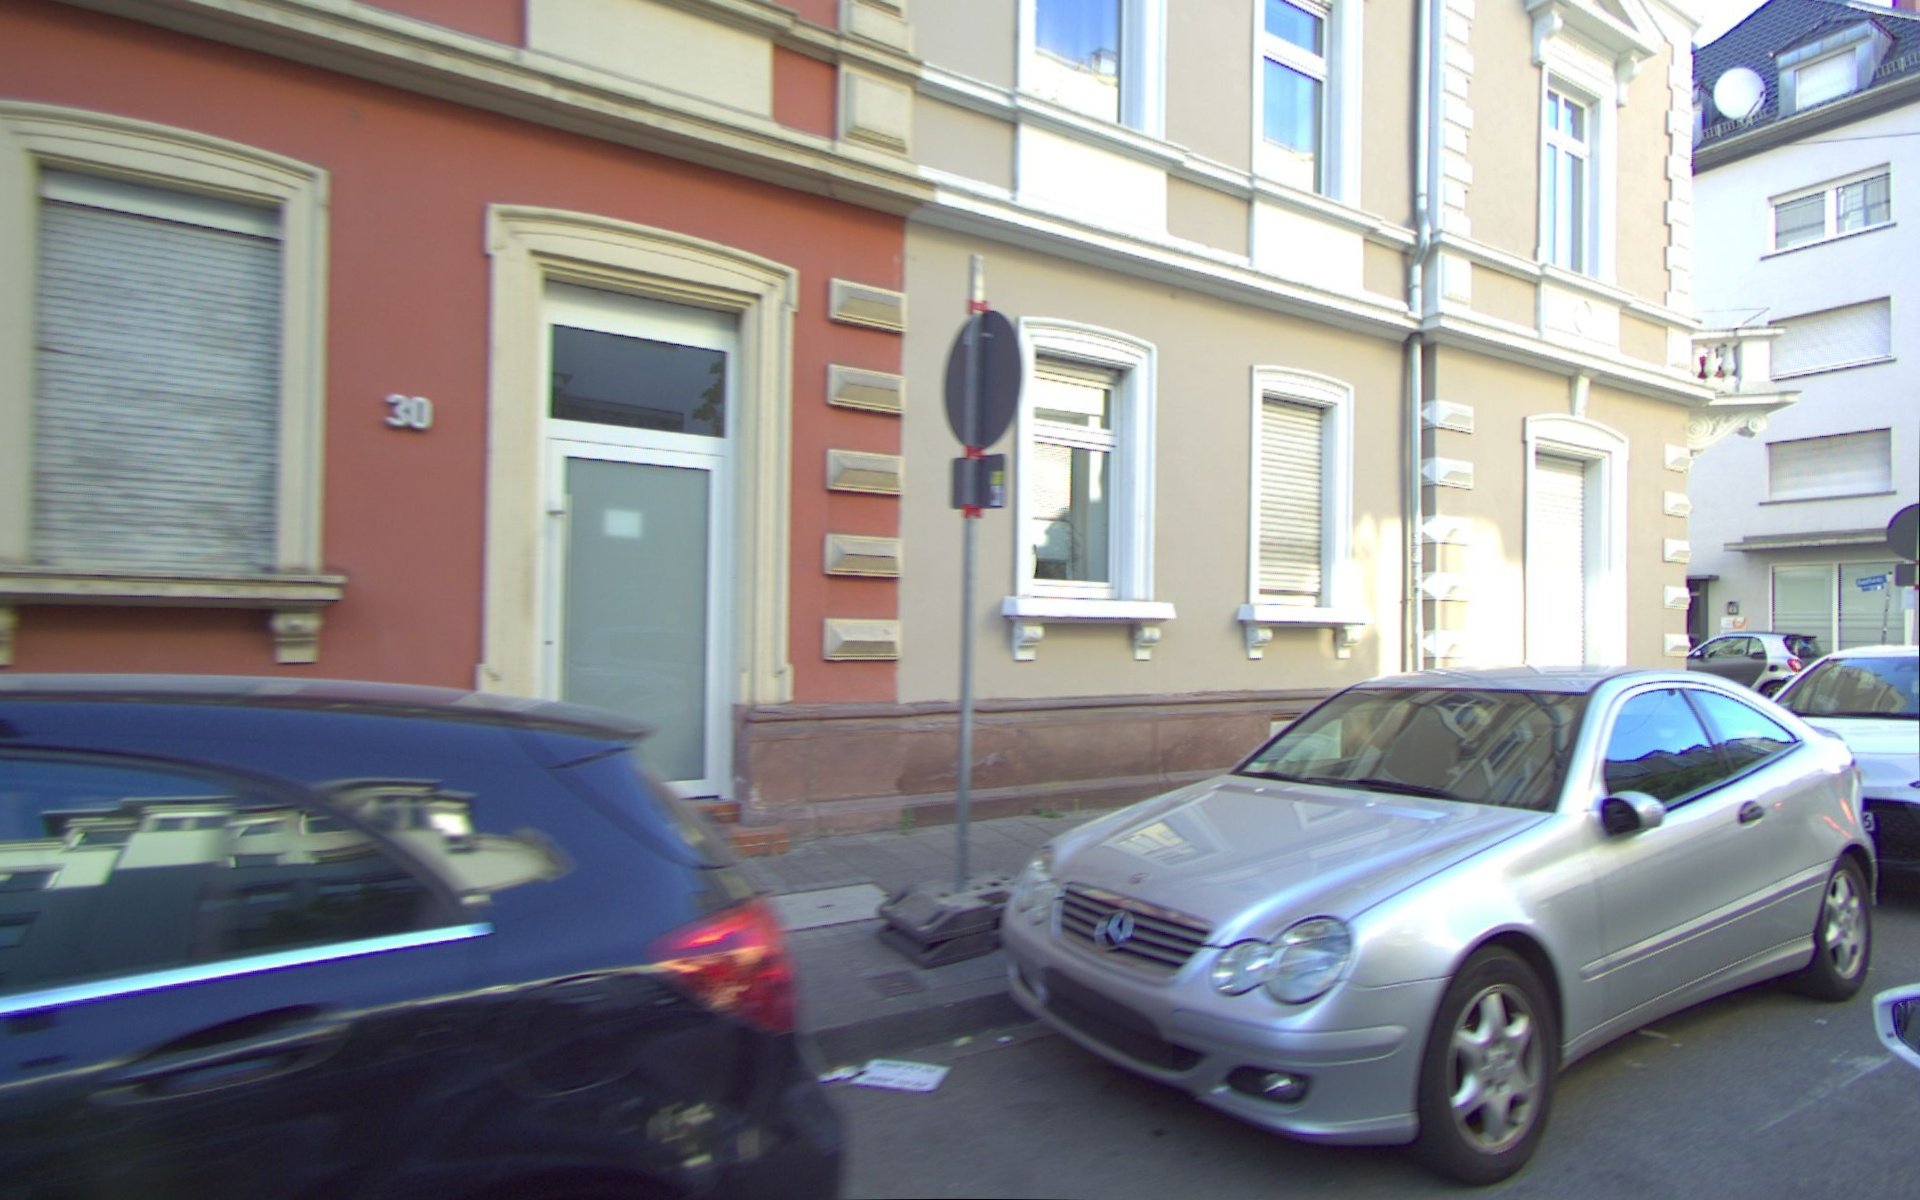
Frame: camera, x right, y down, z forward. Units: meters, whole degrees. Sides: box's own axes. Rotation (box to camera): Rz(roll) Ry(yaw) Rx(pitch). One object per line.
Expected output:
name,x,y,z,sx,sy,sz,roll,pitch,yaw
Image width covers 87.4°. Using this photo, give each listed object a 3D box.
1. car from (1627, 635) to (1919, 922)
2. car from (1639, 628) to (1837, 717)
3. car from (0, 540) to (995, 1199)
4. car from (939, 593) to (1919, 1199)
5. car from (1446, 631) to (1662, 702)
car,6.689,1.022,6.874,4.218,1.527,1.911,1,-3,-31
car,15.728,1.412,20.398,1.575,1.560,2.773,2,0,-30
car,-2.218,0.712,1.478,4.219,1.503,1.911,2,-3,-32
car,2.196,0.869,4.317,4.219,1.580,1.911,2,-3,-32
car,13.997,1.511,23.925,1.585,1.422,4.182,2,-1,-31
